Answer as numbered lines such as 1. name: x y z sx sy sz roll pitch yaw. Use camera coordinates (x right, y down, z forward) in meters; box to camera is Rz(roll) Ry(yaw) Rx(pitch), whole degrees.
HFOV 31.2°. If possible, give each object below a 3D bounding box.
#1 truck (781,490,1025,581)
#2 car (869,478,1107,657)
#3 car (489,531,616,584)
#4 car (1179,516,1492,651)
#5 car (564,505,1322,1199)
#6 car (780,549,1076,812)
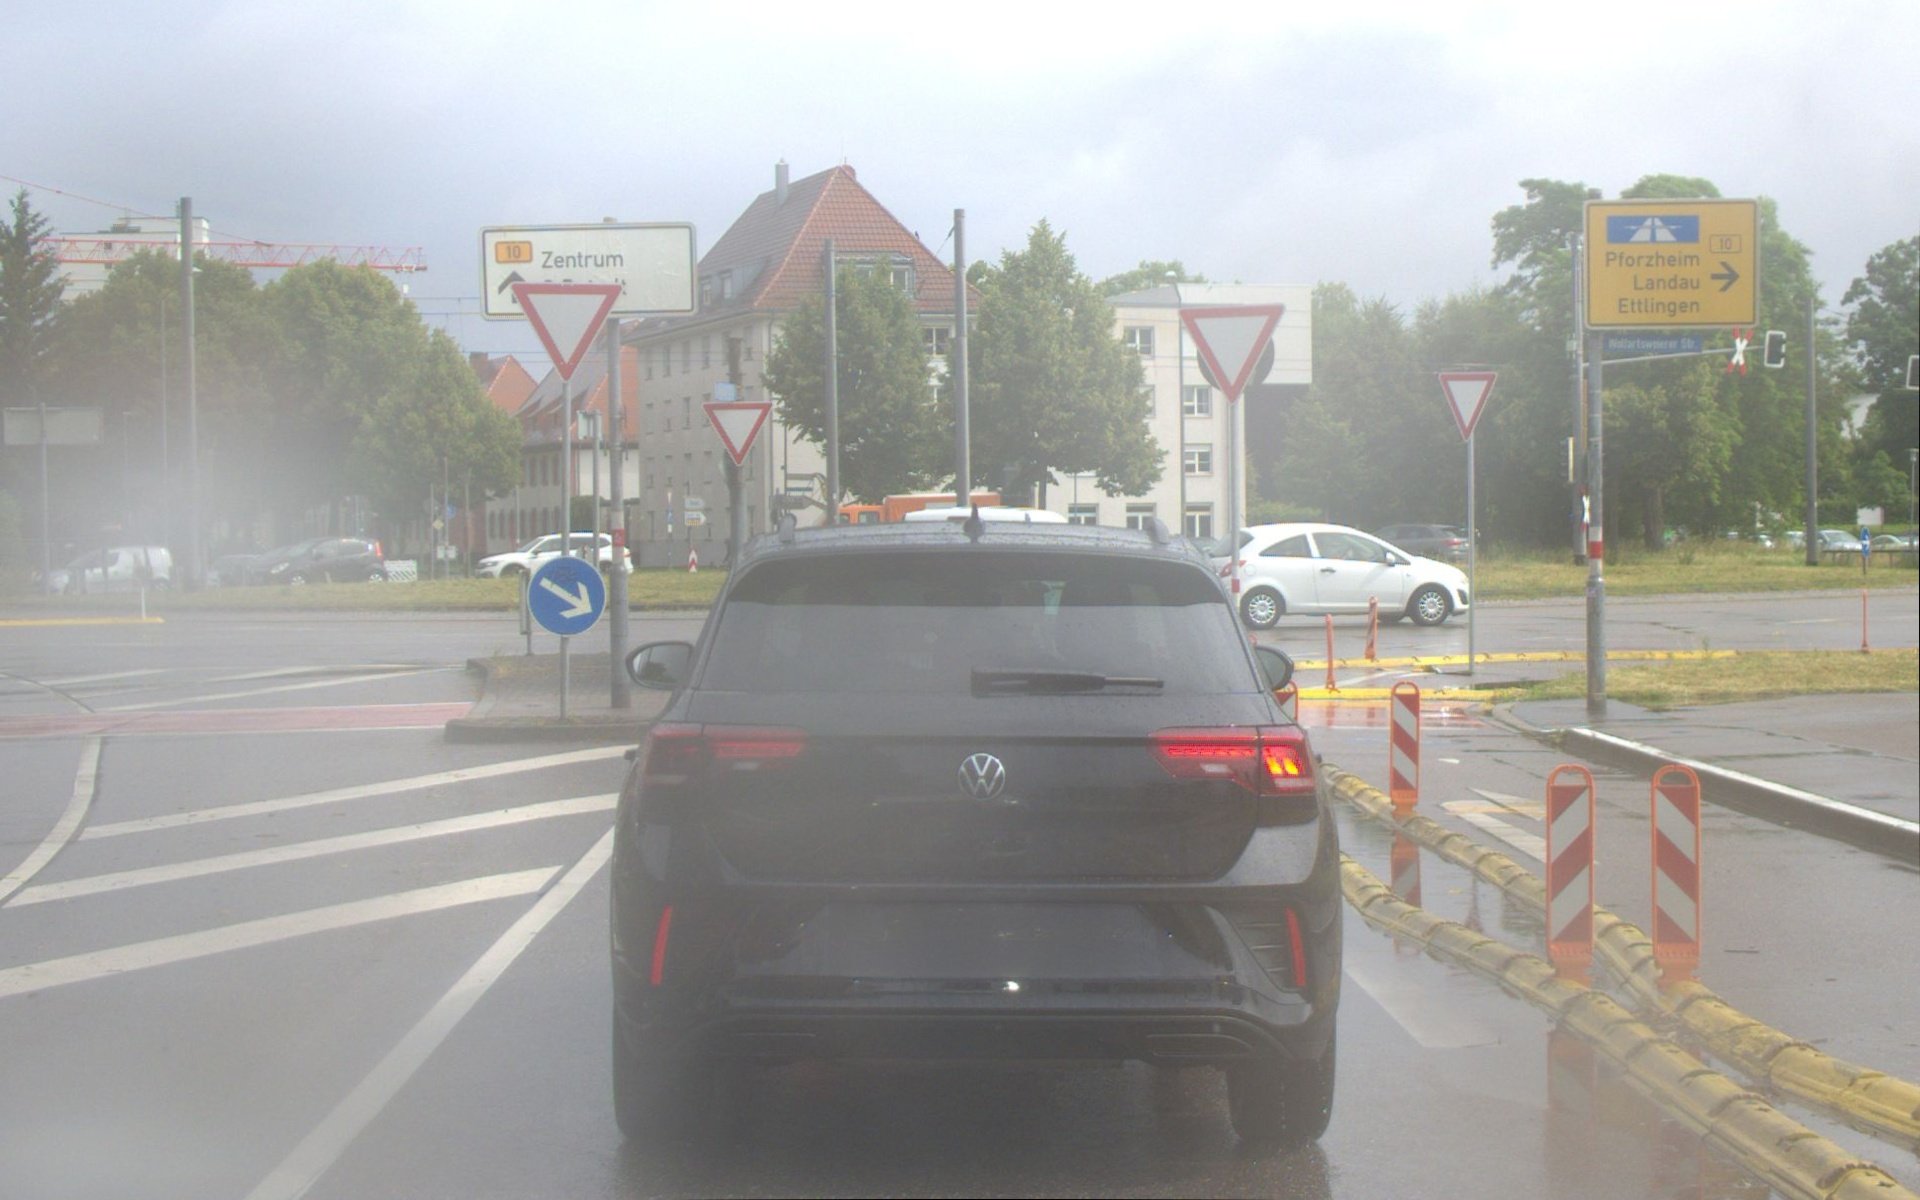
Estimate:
1. truck: -1.713 -1.900 101.042 7.065 2.641 2.330 0 1 -3
2. car: 0.372 -0.377 37.036 1.865 1.803 4.402 0 1 10
3. car: -12.195 -1.284 102.916 3.494 1.579 1.568 -1 1 -20
4. car: 5.342 -0.254 49.127 3.986 1.824 2.001 -1 1 -14
5. car: -0.149 0.548 9.615 1.708 1.568 3.683 0 1 -4
6. car: -0.266 0.446 22.023 1.735 1.509 3.604 0 1 -3
